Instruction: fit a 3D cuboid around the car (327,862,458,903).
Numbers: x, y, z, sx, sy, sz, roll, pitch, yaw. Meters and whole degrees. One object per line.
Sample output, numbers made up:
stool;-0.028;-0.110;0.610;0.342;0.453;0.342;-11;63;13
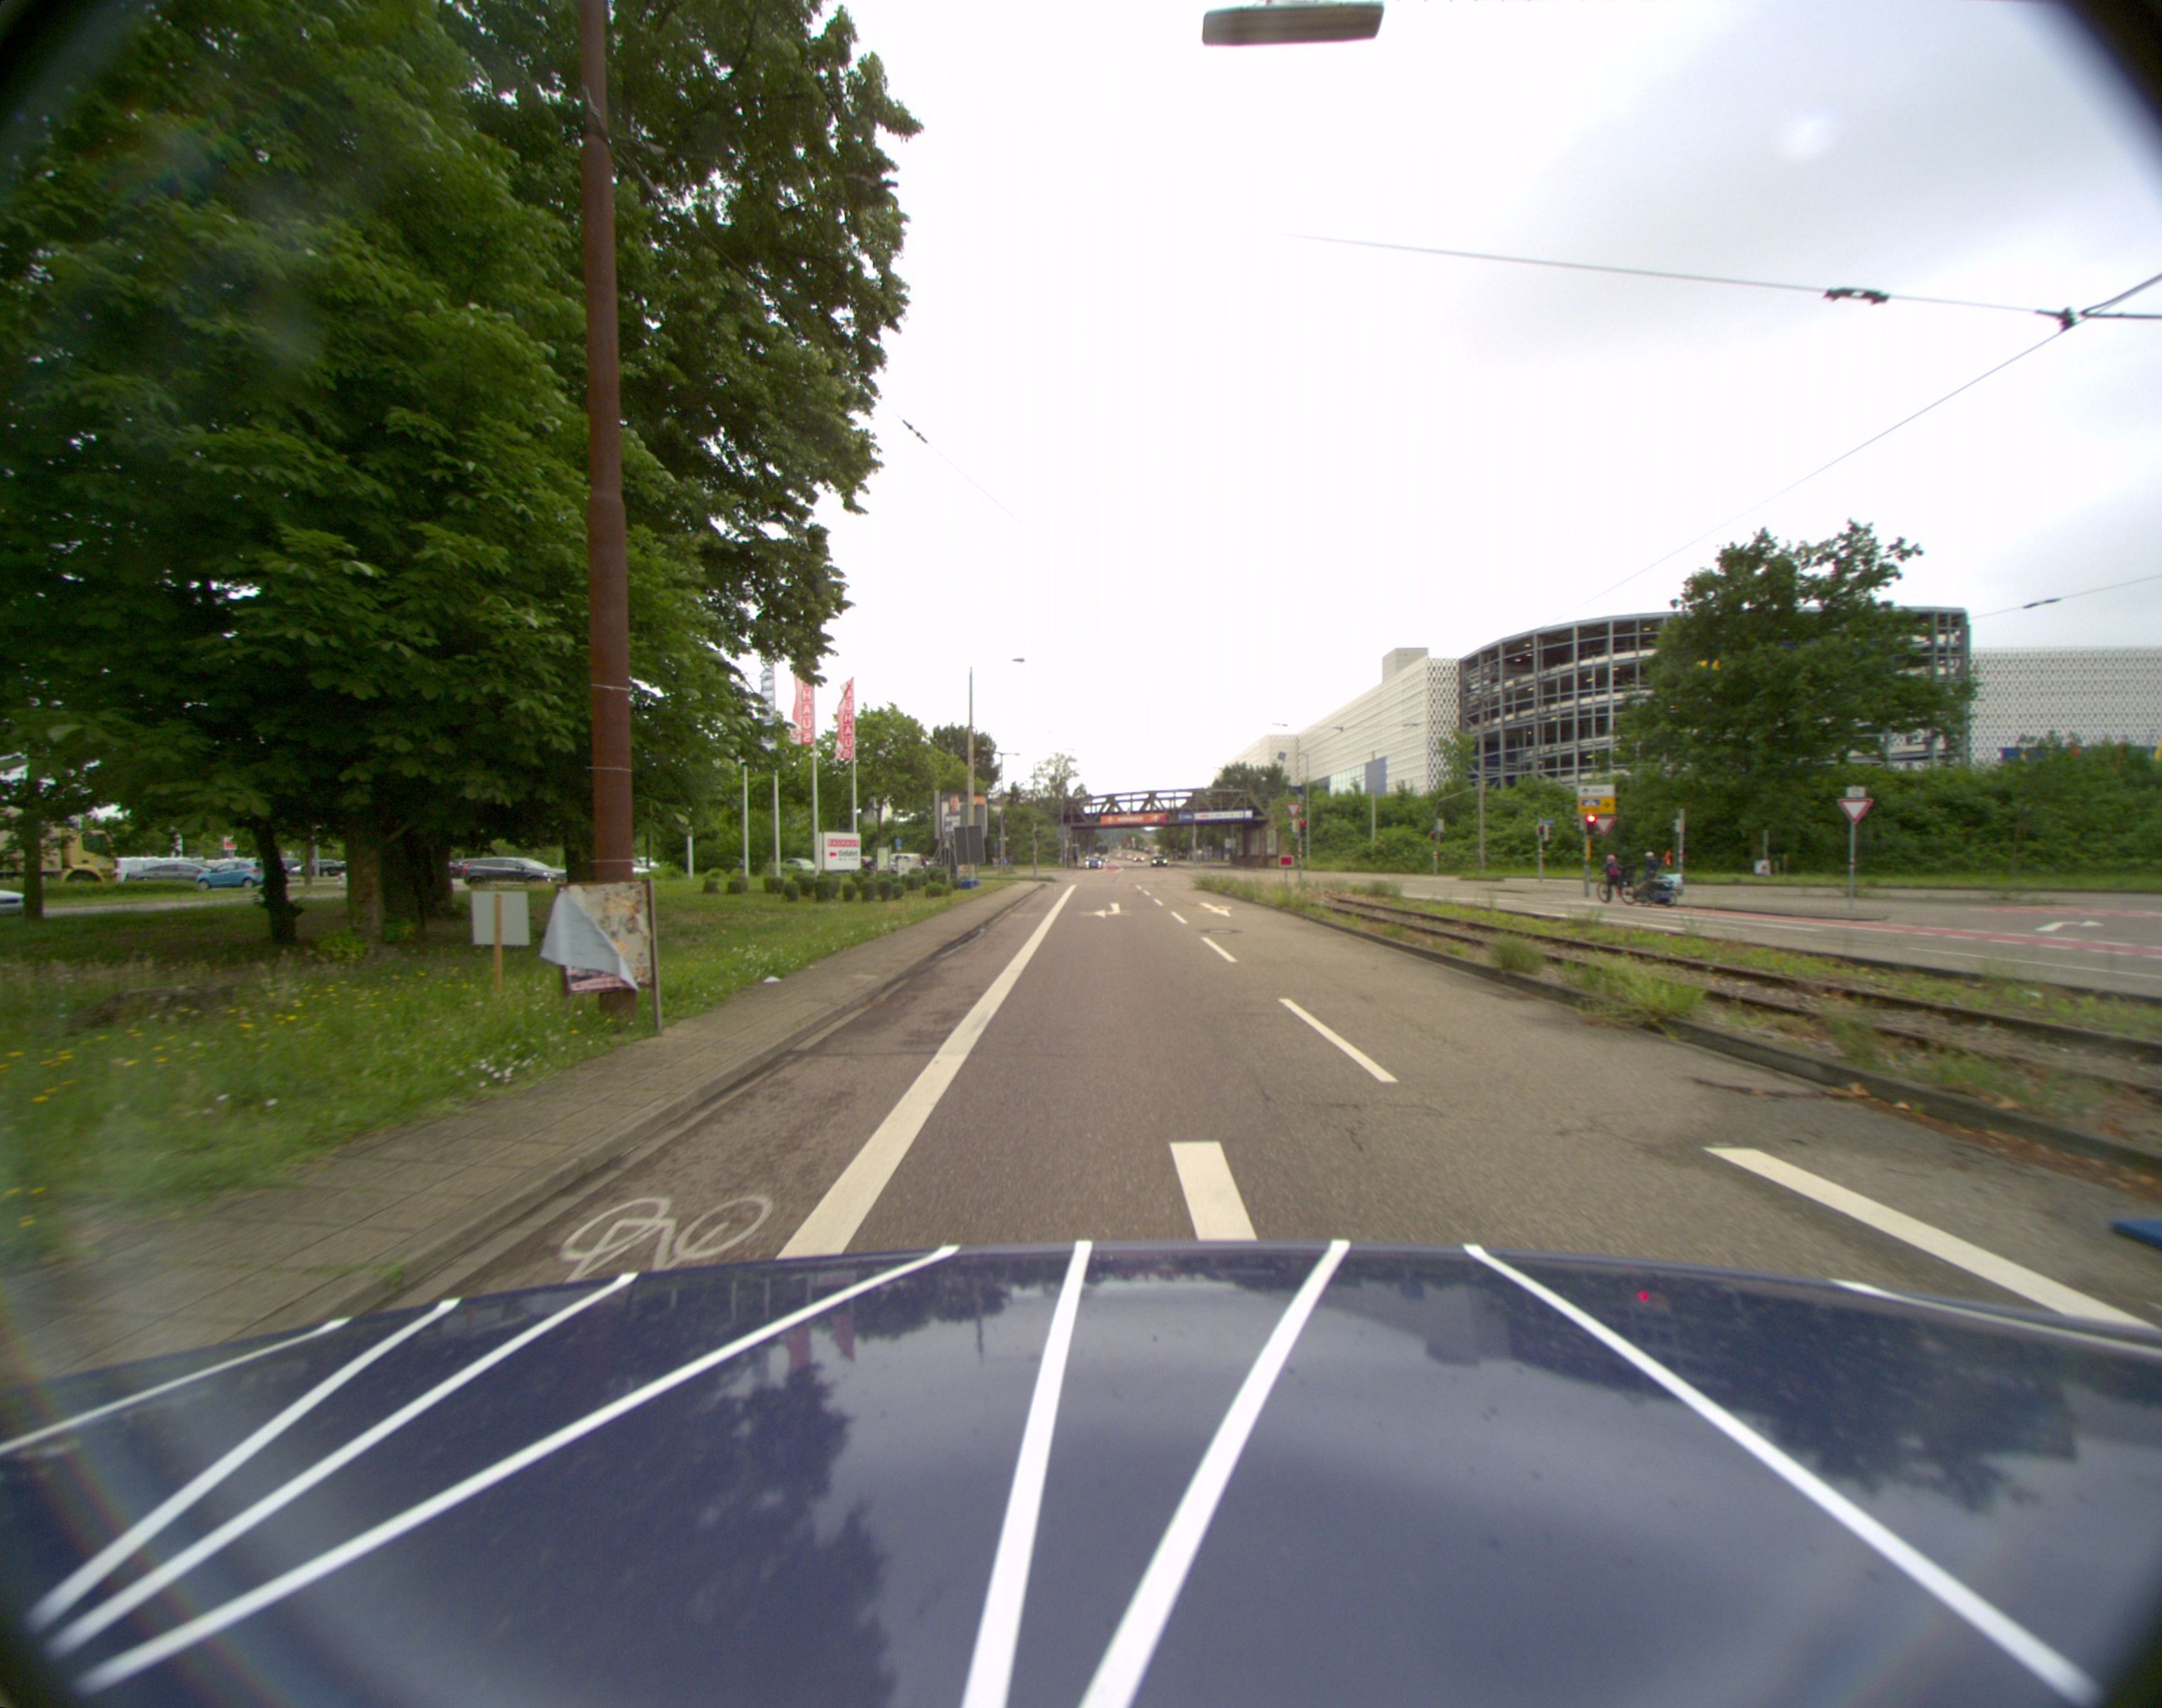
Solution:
car;-32.859;1.308;36.471;1.998;1.661;4.506;-2;1;3

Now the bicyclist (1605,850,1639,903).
bicyclist;17.631;0.727;24.776;0.646;1.673;0.686;-2;0;16

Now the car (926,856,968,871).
car;-13.183;0.946;74.579;3.989;1.416;1.842;-2;0;40

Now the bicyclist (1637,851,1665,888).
bicyclist;23.486;0.638;31.330;0.647;1.509;0.626;-2;0;-2

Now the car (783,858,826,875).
car;-25.802;1.175;70.818;3.989;1.524;1.788;-2;1;38

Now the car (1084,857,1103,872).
car;1.424;1.213;86.881;1.788;1.637;3.998;0;0;-5

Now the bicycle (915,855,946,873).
bicycle;-9.688;0.650;48.847;1.890;1.142;0.583;0;1;18

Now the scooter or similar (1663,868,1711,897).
scooter or similar;23.539;1.085;29.543;0.647;1.056;1.449;-2;0;-1

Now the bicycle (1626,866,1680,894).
bicycle;23.505;1.064;31.276;0.647;1.056;2.000;-2;0;-1

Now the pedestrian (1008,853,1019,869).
pedestrian;-6.896;0.675;77.684;0.745;1.630;0.776;-1;1;-41

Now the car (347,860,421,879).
car;-76.077;1.688;83.059;2.149;1.883;5.738;0;1;42

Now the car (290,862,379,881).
car;-71.831;1.680;73.223;5.731;1.667;2.152;0;1;-18

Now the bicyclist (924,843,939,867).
bicyclist;-9.604;0.056;48.796;0.758;1.511;0.583;0;1;18

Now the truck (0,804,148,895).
truck;-43.477;-0.122;29.441;2.946;3.543;9.249;-2;1;1

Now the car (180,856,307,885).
car;-43.797;0.843;39.794;4.563;1.498;1.987;0;1;2

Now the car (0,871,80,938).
car;-26.757;1.253;17.533;4.456;1.488;1.930;-2;1;-3

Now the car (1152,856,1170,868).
car;9.871;0.935;93.555;1.836;1.416;4.000;-2;0;1

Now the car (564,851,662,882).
car;-26.138;0.672;42.536;4.233;1.488;1.931;-2;1;-2

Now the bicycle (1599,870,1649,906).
bicycle;17.616;1.076;24.697;0.646;1.056;2.026;-2;0;16

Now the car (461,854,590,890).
car;-26.555;0.836;36.438;4.611;1.488;1.930;-2;1;-3

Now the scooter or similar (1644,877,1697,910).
scooter or similar;17.663;1.180;22.813;0.845;0.902;1.199;-2;0;16

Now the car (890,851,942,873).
car;-14.492;0.668;66.668;4.408;1.818;1.884;0;2;35

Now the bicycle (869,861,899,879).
bicycle;-12.786;1.015;49.277;1.811;1.111;0.487;0;1;-36
